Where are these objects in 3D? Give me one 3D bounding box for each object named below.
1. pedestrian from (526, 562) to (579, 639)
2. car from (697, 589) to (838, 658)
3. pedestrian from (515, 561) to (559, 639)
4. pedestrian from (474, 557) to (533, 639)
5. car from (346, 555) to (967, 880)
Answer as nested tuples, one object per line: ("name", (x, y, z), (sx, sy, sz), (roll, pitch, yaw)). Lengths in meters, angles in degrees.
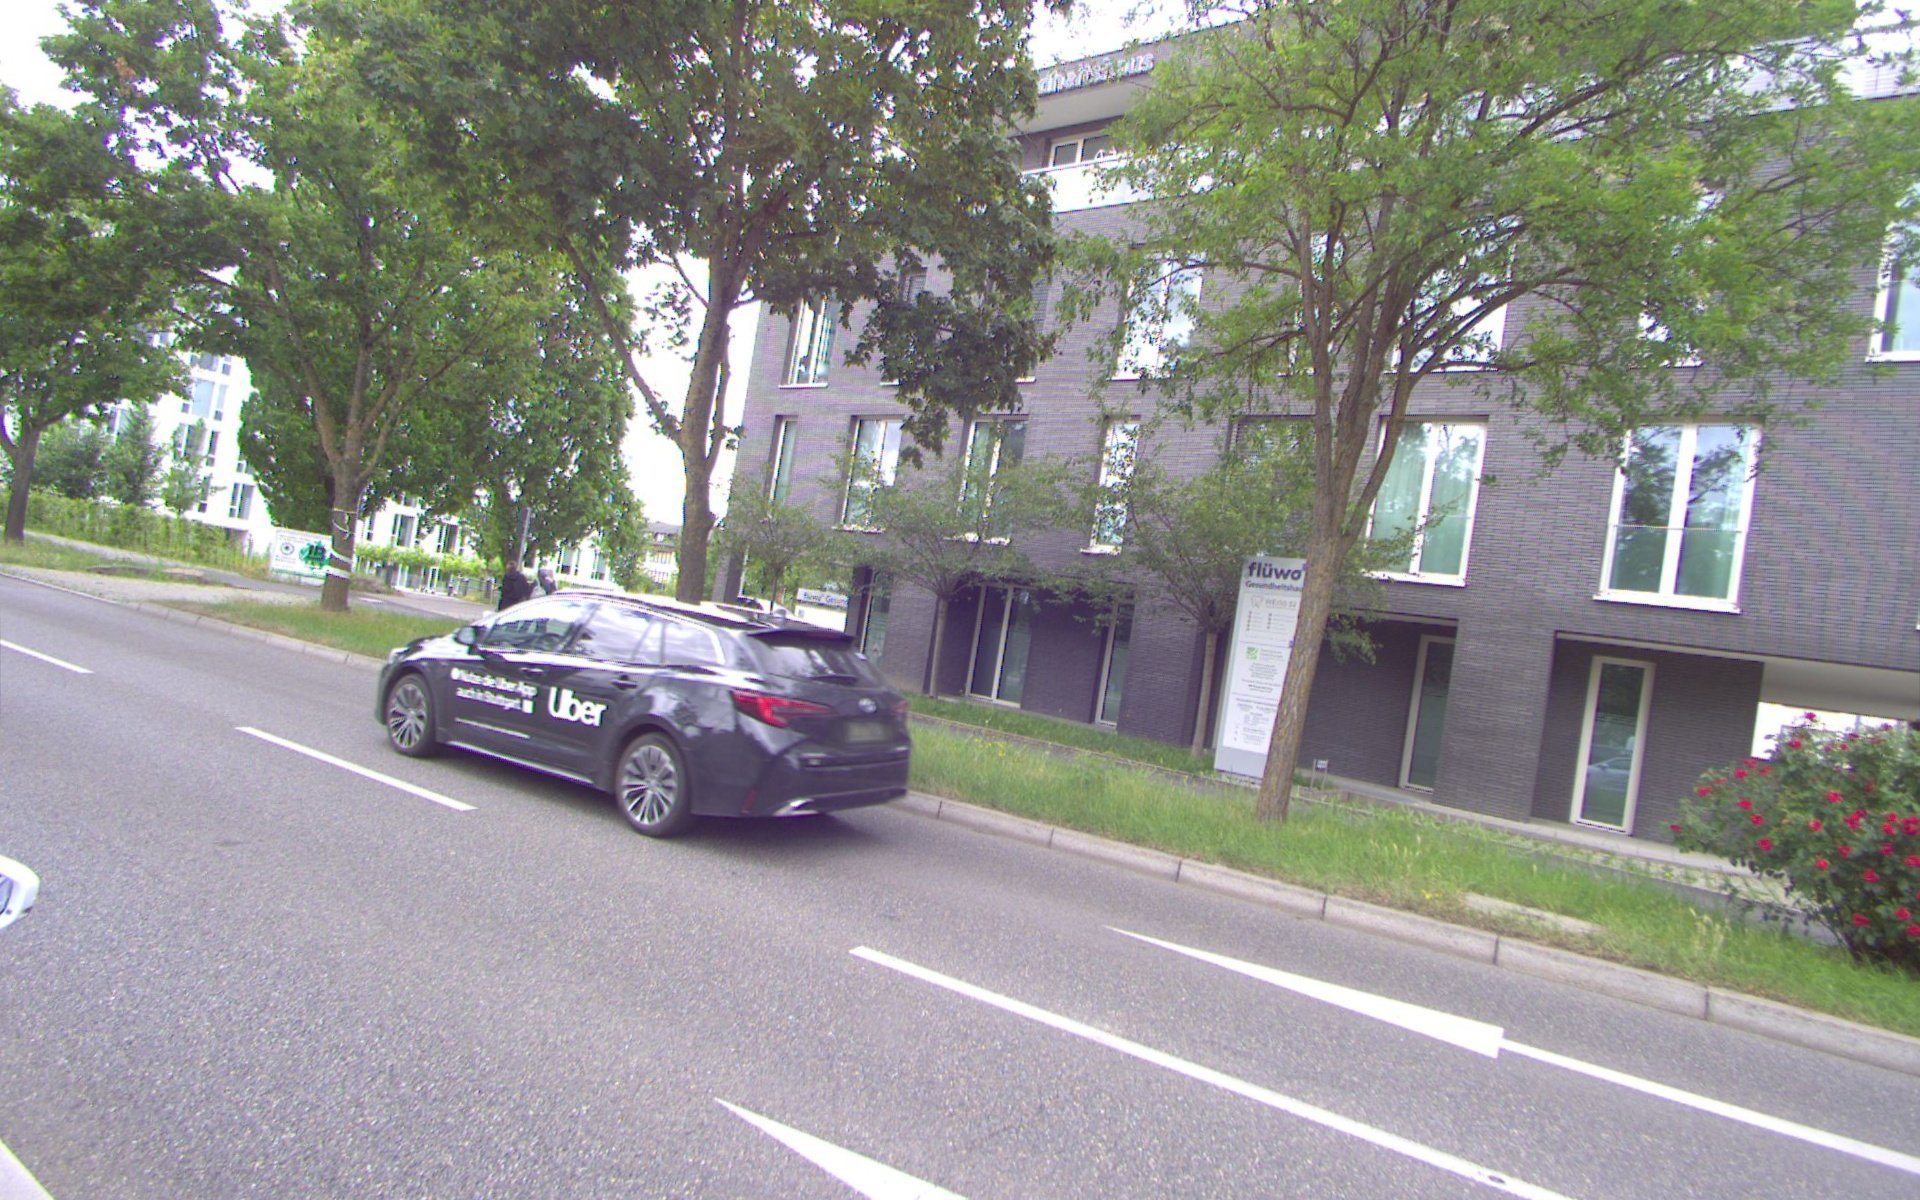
("pedestrian", (-8.958, 0.002, 22.101), (0.732, 1.570, 0.589), (7, -1, 37))
("car", (-6.083, 0.728, 31.659), (4.112, 1.569, 1.828), (7, -2, 34))
("pedestrian", (-8.963, 0.002, 21.316), (0.553, 1.567, 0.410), (5, -5, 37))
("pedestrian", (-9.443, -0.039, 20.823), (0.578, 1.570, 0.726), (7, -2, 37))
("car", (-2.333, 0.682, 7.351), (4.347, 1.465, 1.768), (6, -2, 31))
